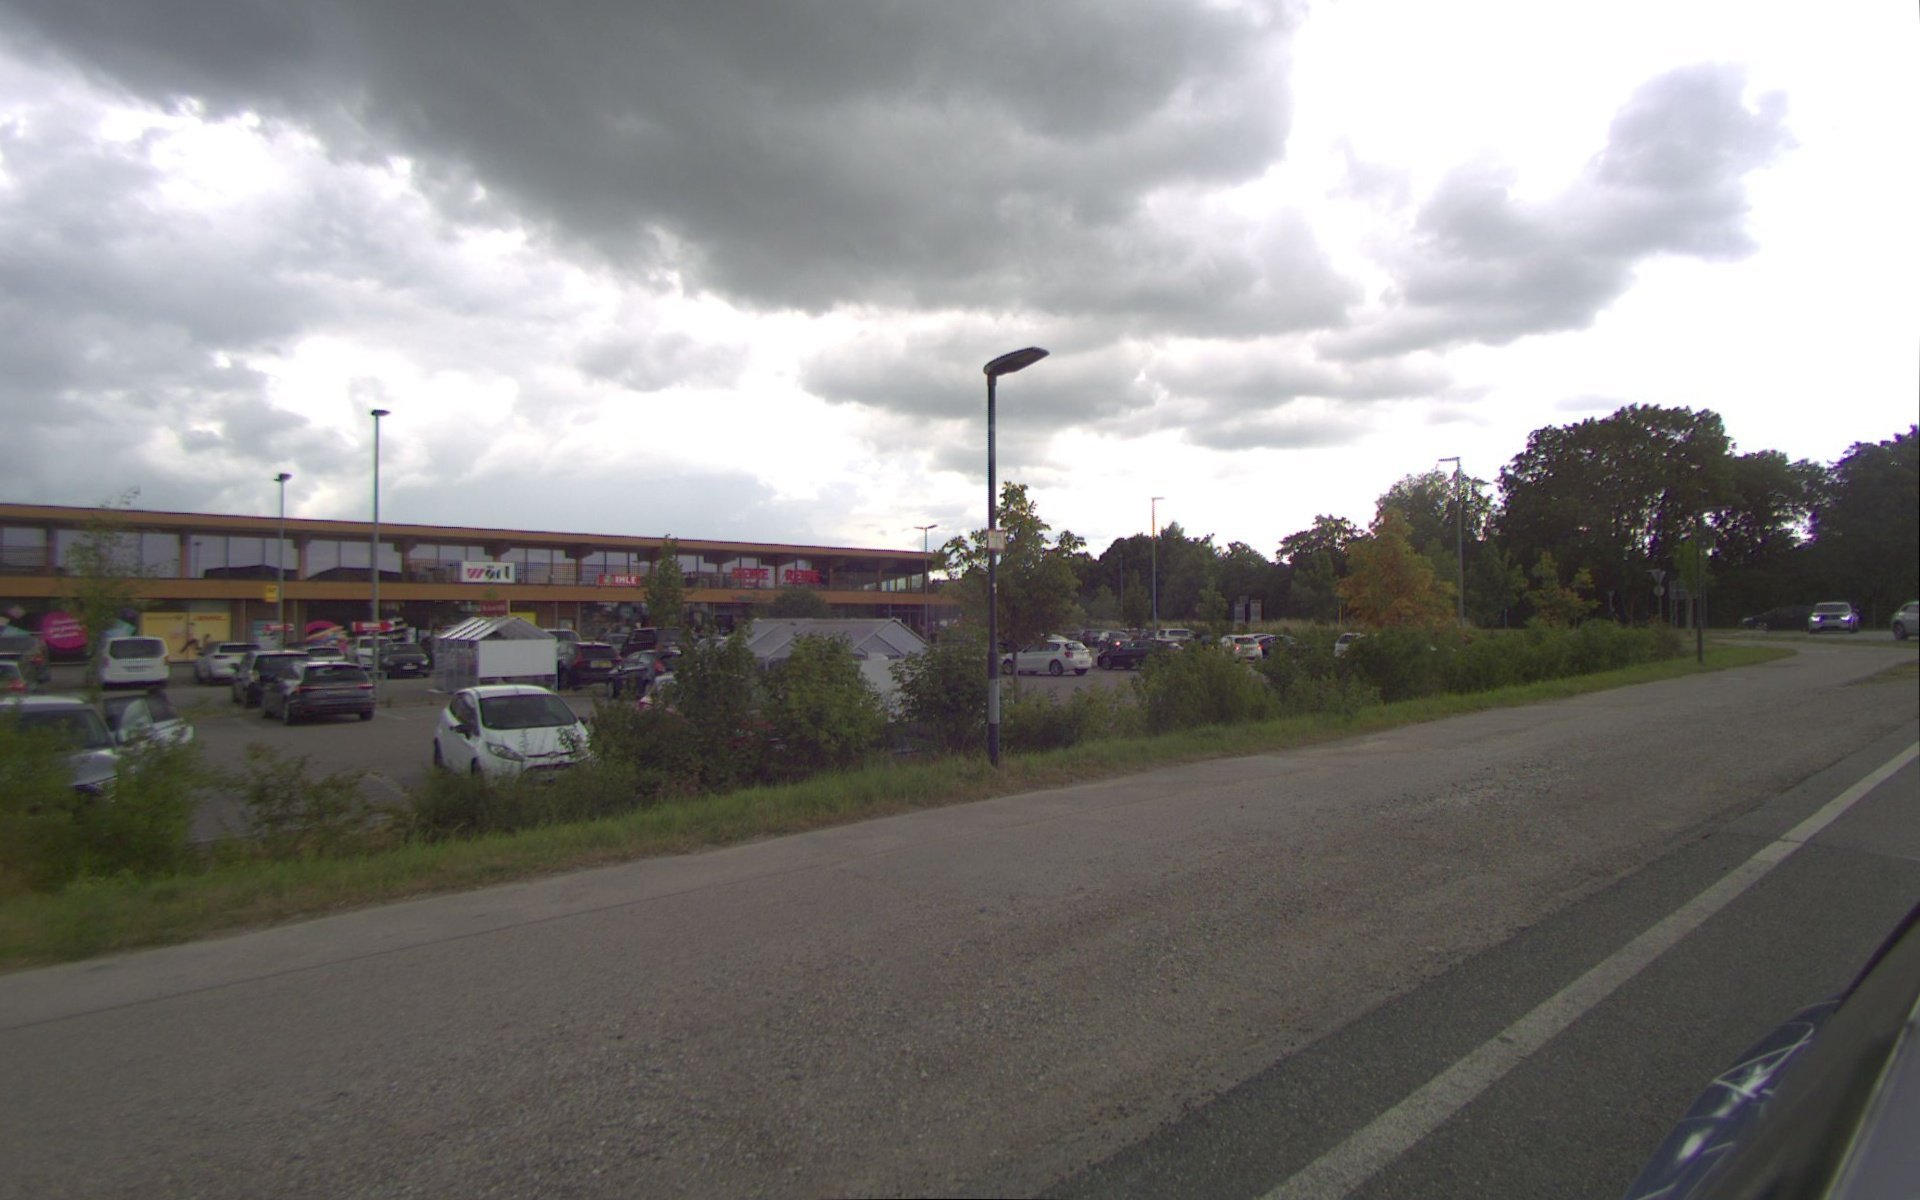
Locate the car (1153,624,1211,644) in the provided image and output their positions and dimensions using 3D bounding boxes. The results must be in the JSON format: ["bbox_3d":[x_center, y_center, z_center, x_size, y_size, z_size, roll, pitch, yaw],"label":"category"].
[{"bbox_3d":[16.717,2.543,76.253,3.916,1.377,1.705,1,0,-13],"label":"car"}]

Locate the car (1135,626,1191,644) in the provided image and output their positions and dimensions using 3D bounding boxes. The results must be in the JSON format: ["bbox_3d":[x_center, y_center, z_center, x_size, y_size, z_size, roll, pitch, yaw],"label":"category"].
[{"bbox_3d":[15.907,2.749,79.363,3.916,1.377,1.705,1,0,-13],"label":"car"}]

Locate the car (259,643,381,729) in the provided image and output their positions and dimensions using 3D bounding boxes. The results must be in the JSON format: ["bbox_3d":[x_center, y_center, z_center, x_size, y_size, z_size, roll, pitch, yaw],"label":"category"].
[{"bbox_3d":[-15.376,1.961,24.229,1.964,1.638,3.995,0,0,-40],"label":"car"}]

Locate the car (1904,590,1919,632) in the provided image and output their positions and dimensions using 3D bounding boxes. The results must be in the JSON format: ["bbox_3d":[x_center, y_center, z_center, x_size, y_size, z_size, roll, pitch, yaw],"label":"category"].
[{"bbox_3d":[40.193,0.477,40.372,1.971,1.705,3.982,1,0,14],"label":"car"}]

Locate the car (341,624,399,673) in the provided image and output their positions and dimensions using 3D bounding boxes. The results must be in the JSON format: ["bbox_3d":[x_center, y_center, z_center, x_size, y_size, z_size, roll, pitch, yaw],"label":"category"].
[{"bbox_3d":[-27.360,2.196,46.864,1.962,2.039,4.000,0,0,-36],"label":"car"}]

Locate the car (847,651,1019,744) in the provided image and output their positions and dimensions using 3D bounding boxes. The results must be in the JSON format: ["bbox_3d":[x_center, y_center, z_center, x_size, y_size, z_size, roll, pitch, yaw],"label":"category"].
[{"bbox_3d":[-0.649,1.983,21.542,1.647,1.557,3.761,0,0,-42],"label":"car"}]

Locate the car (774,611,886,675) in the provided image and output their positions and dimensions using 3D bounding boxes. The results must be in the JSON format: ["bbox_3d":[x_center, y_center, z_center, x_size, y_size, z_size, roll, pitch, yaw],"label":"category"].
[{"bbox_3d":[-4.454,1.386,34.200,1.962,1.894,4.274,0,0,-35],"label":"car"}]

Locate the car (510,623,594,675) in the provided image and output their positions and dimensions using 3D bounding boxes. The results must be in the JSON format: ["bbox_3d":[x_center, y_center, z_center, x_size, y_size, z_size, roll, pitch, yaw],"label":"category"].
[{"bbox_3d":[-18.571,2.158,45.938,1.965,2.039,5.137,0,0,-41],"label":"car"}]

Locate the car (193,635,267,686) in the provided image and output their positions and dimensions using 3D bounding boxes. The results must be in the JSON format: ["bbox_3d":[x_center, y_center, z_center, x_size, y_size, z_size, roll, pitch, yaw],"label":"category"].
[{"bbox_3d":[-27.691,2.254,38.361,2.003,1.628,3.745,0,0,-40],"label":"car"}]

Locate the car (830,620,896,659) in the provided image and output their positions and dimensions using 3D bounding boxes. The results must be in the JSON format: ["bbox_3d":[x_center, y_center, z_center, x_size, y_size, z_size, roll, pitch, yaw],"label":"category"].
[{"bbox_3d":[-5.571,2.210,57.825,2.032,2.039,4.000,0,0,-36],"label":"car"}]

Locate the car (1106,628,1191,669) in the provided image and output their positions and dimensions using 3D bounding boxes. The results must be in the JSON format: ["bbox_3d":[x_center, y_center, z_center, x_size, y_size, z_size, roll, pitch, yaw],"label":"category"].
[{"bbox_3d":[8.458,2.194,45.633,1.771,1.728,3.385,0,-3,-41],"label":"car"}]

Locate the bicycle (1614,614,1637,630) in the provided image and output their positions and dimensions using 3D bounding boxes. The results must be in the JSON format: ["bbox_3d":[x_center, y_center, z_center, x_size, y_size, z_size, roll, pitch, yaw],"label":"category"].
[{"bbox_3d":[41.773,1.355,63.507,0.557,0.974,1.301,1,0,0],"label":"bicycle"}]

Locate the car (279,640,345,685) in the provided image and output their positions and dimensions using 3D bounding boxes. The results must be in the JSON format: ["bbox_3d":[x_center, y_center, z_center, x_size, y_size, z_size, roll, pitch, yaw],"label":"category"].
[{"bbox_3d":[-25.726,2.436,40.124,1.761,1.496,3.745,0,0,-40],"label":"car"}]

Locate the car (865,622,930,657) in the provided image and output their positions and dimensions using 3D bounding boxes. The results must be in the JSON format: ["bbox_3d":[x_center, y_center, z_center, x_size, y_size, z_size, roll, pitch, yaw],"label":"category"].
[{"bbox_3d":[-3.760,2.296,60.378,2.032,1.871,4.000,0,0,-36],"label":"car"}]

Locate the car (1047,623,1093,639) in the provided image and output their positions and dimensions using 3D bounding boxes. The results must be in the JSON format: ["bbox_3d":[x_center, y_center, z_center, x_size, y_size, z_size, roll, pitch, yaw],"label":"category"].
[{"bbox_3d":[10.270,2.880,94.459,3.916,1.377,1.705,1,0,-13],"label":"car"}]

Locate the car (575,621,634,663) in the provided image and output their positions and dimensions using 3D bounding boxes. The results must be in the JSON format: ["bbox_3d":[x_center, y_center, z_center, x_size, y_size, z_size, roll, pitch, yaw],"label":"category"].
[{"bbox_3d":[-19.149,2.214,54.427,1.962,2.039,4.123,0,0,-36],"label":"car"}]

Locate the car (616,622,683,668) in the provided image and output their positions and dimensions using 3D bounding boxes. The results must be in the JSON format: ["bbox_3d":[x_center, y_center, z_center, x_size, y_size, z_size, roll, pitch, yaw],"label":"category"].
[{"bbox_3d":[-15.274,2.161,49.694,1.962,2.039,4.000,0,0,-36],"label":"car"}]

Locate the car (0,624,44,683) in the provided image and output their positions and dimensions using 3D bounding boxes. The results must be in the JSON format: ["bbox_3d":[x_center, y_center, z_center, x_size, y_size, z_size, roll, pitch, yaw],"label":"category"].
[{"bbox_3d":[-36.662,2.033,39.090,1.819,2.036,4.223,0,0,-42],"label":"car"}]

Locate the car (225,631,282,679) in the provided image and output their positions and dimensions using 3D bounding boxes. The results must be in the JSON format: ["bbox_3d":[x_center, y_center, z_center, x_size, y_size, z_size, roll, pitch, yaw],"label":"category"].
[{"bbox_3d":[-30.197,2.294,43.234,1.908,1.772,4.000,0,0,-36],"label":"car"}]

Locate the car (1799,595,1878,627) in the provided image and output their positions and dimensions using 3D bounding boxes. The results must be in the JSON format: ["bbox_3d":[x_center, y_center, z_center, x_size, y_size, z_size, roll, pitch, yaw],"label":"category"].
[{"bbox_3d":[44.696,0.513,51.596,1.978,1.538,3.740,1,0,24],"label":"car"}]

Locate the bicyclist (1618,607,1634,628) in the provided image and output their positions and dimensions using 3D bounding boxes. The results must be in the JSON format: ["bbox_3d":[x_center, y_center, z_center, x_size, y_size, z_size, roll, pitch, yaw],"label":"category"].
[{"bbox_3d":[41.775,1.087,63.453,0.545,1.259,0.659,1,0,0],"label":"bicyclist"}]

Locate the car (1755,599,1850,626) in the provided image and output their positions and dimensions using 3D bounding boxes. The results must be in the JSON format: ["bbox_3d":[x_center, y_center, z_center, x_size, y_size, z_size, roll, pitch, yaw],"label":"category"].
[{"bbox_3d":[49.066,0.709,59.035,3.964,1.438,1.699,1,0,29],"label":"car"}]

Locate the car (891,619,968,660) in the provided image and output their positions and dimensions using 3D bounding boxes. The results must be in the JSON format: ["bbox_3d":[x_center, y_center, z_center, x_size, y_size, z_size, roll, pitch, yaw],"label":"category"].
[{"bbox_3d":[-1.650,2.028,53.173,1.962,1.894,4.274,0,0,-35],"label":"car"}]

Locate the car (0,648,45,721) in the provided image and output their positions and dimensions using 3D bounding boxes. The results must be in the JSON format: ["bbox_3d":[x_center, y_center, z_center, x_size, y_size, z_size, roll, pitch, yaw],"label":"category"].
[{"bbox_3d":[-23.862,2.053,24.943,1.869,1.451,4.183,0,0,-42],"label":"car"}]

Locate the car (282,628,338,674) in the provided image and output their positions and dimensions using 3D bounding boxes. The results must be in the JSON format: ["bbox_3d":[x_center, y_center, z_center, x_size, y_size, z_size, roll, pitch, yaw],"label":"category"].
[{"bbox_3d":[-28.779,2.191,44.770,1.908,1.772,4.000,0,0,-36],"label":"car"}]

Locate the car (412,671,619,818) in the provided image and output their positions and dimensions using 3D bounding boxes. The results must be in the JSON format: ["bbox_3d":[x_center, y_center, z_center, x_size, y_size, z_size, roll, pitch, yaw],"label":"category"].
[{"bbox_3d":[-6.804,2.032,15.260,1.647,1.557,4.152,0,0,-42],"label":"car"}]

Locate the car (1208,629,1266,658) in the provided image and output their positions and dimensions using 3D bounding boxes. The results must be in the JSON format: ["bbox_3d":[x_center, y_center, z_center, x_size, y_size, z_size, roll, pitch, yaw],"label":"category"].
[{"bbox_3d":[14.938,2.322,54.797,1.808,1.377,4.003,1,0,-4],"label":"car"}]

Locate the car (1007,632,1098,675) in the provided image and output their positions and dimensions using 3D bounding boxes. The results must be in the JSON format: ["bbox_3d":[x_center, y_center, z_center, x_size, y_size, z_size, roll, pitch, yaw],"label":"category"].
[{"bbox_3d":[3.817,2.180,41.989,1.723,1.552,3.554,0,0,-41],"label":"car"}]

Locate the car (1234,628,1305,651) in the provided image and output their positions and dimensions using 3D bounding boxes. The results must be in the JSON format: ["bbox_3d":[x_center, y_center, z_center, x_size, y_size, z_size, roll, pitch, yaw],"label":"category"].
[{"bbox_3d":[19.552,2.472,63.974,3.916,1.377,1.705,1,0,-13],"label":"car"}]

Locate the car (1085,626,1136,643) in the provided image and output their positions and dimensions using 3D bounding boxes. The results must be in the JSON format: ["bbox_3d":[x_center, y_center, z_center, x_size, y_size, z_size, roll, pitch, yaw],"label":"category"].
[{"bbox_3d":[12.641,2.883,84.972,3.916,1.377,1.705,1,0,-13],"label":"car"}]

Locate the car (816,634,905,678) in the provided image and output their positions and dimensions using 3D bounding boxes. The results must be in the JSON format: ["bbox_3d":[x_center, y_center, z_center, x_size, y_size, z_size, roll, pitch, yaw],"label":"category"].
[{"bbox_3d":[-4.296,2.339,43.060,1.962,1.571,4.131,0,0,-36],"label":"car"}]

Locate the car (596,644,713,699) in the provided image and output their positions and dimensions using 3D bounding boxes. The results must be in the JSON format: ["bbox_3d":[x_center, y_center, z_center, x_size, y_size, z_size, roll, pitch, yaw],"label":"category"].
[{"bbox_3d":[-9.306,2.107,30.630,1.965,1.460,3.993,0,-1,-41],"label":"car"}]

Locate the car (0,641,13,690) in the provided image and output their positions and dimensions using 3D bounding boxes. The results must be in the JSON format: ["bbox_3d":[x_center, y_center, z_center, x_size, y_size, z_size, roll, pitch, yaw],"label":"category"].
[{"bbox_3d":[-32.447,2.155,33.321,1.744,1.399,3.466,0,0,-42],"label":"car"}]

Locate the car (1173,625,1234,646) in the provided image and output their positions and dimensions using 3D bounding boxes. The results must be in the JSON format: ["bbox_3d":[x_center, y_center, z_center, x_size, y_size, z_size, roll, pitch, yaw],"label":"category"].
[{"bbox_3d":[17.505,2.562,72.931,3.916,1.377,1.705,1,0,-13],"label":"car"}]

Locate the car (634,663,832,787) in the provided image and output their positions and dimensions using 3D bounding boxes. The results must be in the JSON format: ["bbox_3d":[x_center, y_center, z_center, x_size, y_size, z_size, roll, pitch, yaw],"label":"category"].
[{"bbox_3d":[-3.918,1.987,17.101,1.647,1.557,3.761,0,0,-42],"label":"car"}]

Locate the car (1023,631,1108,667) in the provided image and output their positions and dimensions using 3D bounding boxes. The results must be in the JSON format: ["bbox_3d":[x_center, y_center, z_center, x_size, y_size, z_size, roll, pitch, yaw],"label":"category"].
[{"bbox_3d":[5.138,2.350,49.742,1.962,1.504,4.131,0,0,-36],"label":"car"}]

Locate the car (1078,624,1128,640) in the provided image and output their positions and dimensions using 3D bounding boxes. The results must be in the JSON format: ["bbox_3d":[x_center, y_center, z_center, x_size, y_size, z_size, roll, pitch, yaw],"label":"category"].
[{"bbox_3d":[12.376,2.780,87.773,3.916,1.377,1.705,1,0,-13],"label":"car"}]

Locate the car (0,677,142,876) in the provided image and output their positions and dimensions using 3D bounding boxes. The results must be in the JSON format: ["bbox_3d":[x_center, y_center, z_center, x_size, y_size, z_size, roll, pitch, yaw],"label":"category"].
[{"bbox_3d":[-10.804,1.890,11.580,2.045,1.618,4.152,0,0,-42],"label":"car"}]

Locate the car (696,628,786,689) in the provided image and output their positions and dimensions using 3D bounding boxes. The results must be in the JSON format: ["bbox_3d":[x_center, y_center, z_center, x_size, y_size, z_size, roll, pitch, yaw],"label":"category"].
[{"bbox_3d":[-8.431,2.186,38.794,1.962,2.039,4.000,0,0,-36],"label":"car"}]

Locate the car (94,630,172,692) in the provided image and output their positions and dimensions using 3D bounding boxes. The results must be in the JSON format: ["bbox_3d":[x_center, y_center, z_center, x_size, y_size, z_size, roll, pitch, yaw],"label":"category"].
[{"bbox_3d":[-29.614,2.118,36.192,2.004,1.935,3.898,0,0,-42],"label":"car"}]

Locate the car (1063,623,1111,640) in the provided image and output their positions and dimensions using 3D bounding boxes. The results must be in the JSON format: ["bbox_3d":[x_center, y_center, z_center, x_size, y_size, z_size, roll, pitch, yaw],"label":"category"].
[{"bbox_3d":[11.309,2.811,90.417,3.916,1.377,1.705,1,0,-13],"label":"car"}]

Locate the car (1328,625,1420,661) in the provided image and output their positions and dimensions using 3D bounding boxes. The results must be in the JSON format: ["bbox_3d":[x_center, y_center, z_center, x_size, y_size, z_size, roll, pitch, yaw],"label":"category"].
[{"bbox_3d":[21.219,2.196,51.921,4.154,1.738,1.705,1,0,-13],"label":"car"}]

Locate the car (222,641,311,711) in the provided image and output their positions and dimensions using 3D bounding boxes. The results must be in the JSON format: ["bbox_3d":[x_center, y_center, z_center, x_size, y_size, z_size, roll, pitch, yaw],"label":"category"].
[{"bbox_3d":[-19.812,2.097,28.907,1.962,1.638,4.000,0,0,-36],"label":"car"}]

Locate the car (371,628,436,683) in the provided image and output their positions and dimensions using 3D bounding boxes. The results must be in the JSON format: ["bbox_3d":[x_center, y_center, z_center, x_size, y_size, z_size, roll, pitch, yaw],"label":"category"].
[{"bbox_3d":[-23.460,2.269,42.595,1.962,2.039,4.000,0,0,-36],"label":"car"}]
